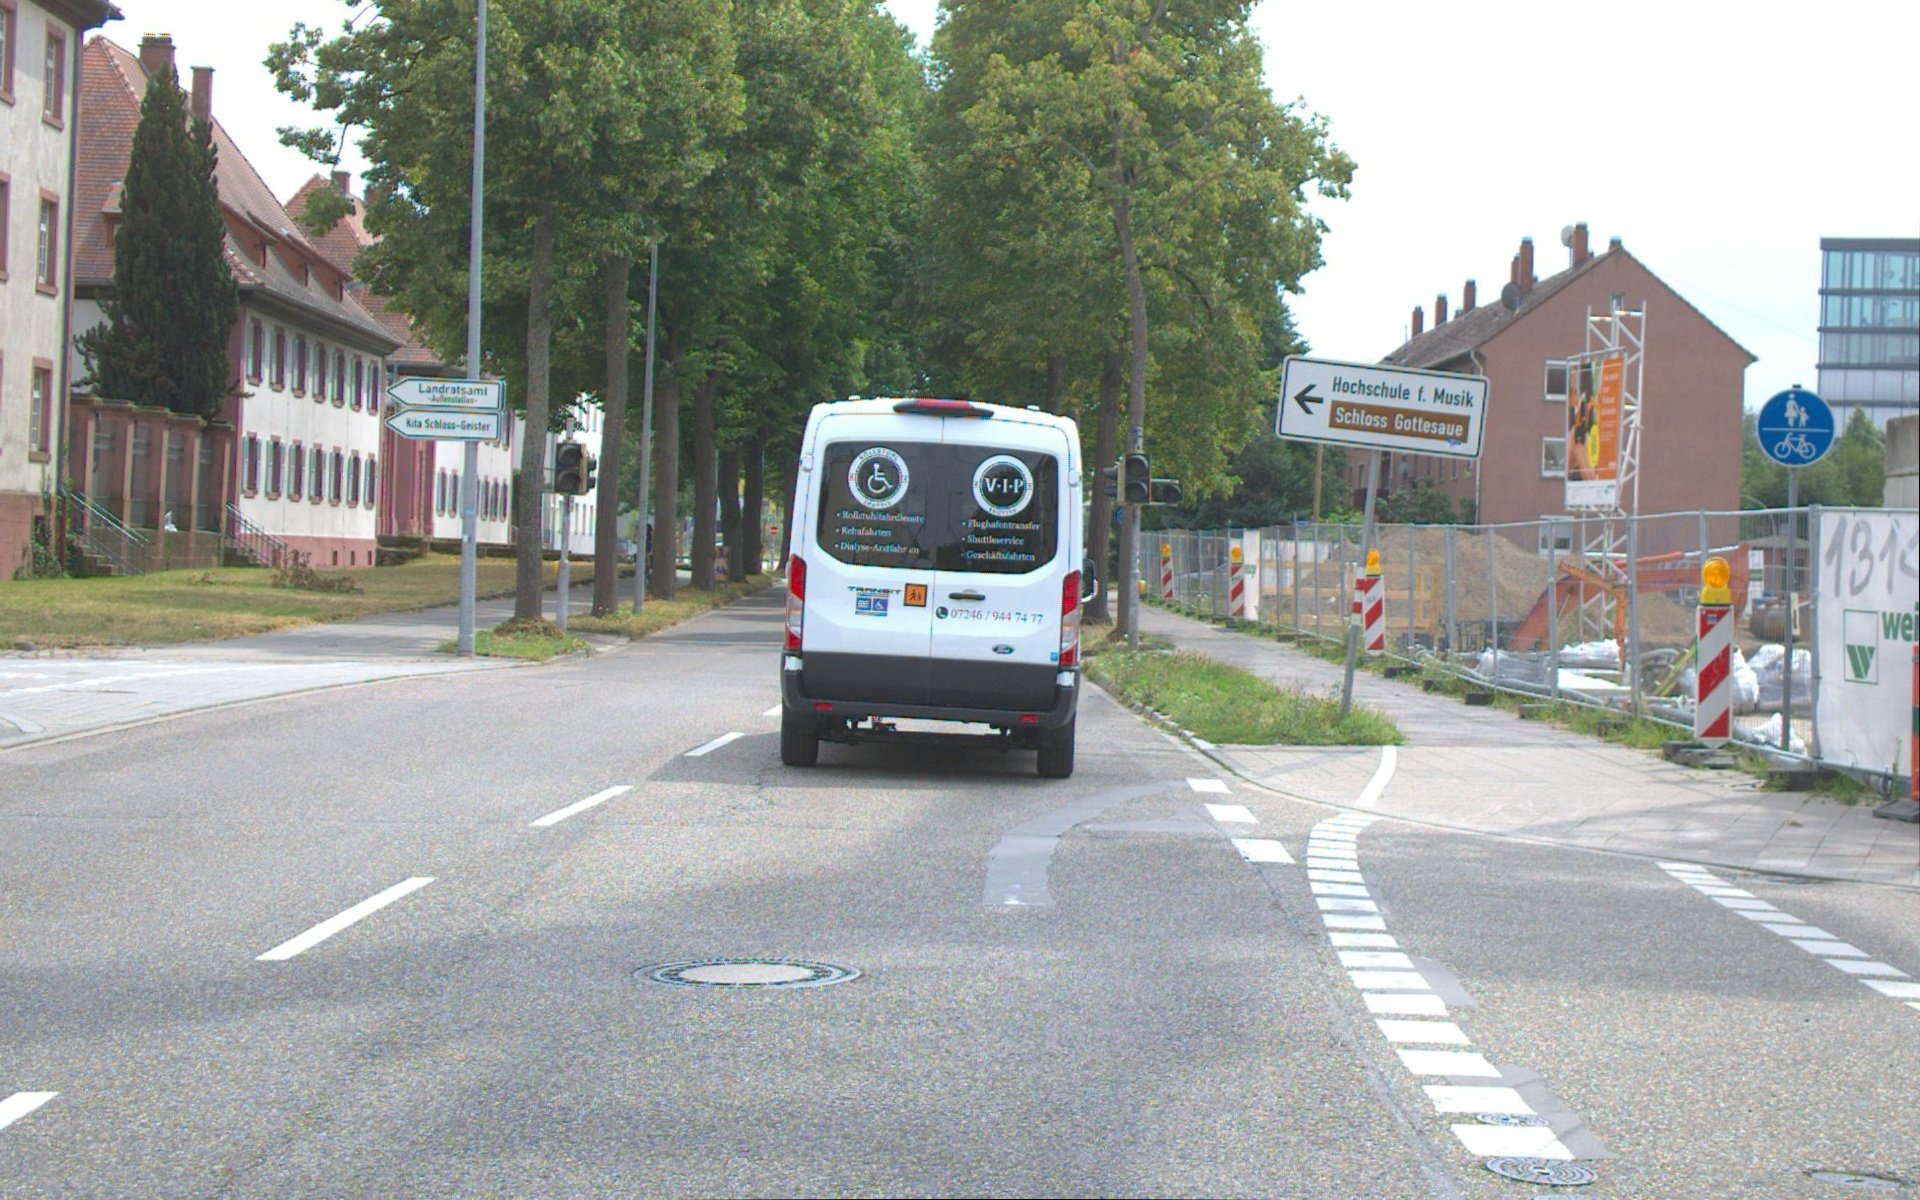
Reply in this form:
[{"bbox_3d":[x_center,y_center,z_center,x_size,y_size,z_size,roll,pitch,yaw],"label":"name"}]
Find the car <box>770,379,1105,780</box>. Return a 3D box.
[{"bbox_3d":[-0.253,-0.139,24.323,2.062,2.531,4.000,2,0,-4],"label":"car"}]
